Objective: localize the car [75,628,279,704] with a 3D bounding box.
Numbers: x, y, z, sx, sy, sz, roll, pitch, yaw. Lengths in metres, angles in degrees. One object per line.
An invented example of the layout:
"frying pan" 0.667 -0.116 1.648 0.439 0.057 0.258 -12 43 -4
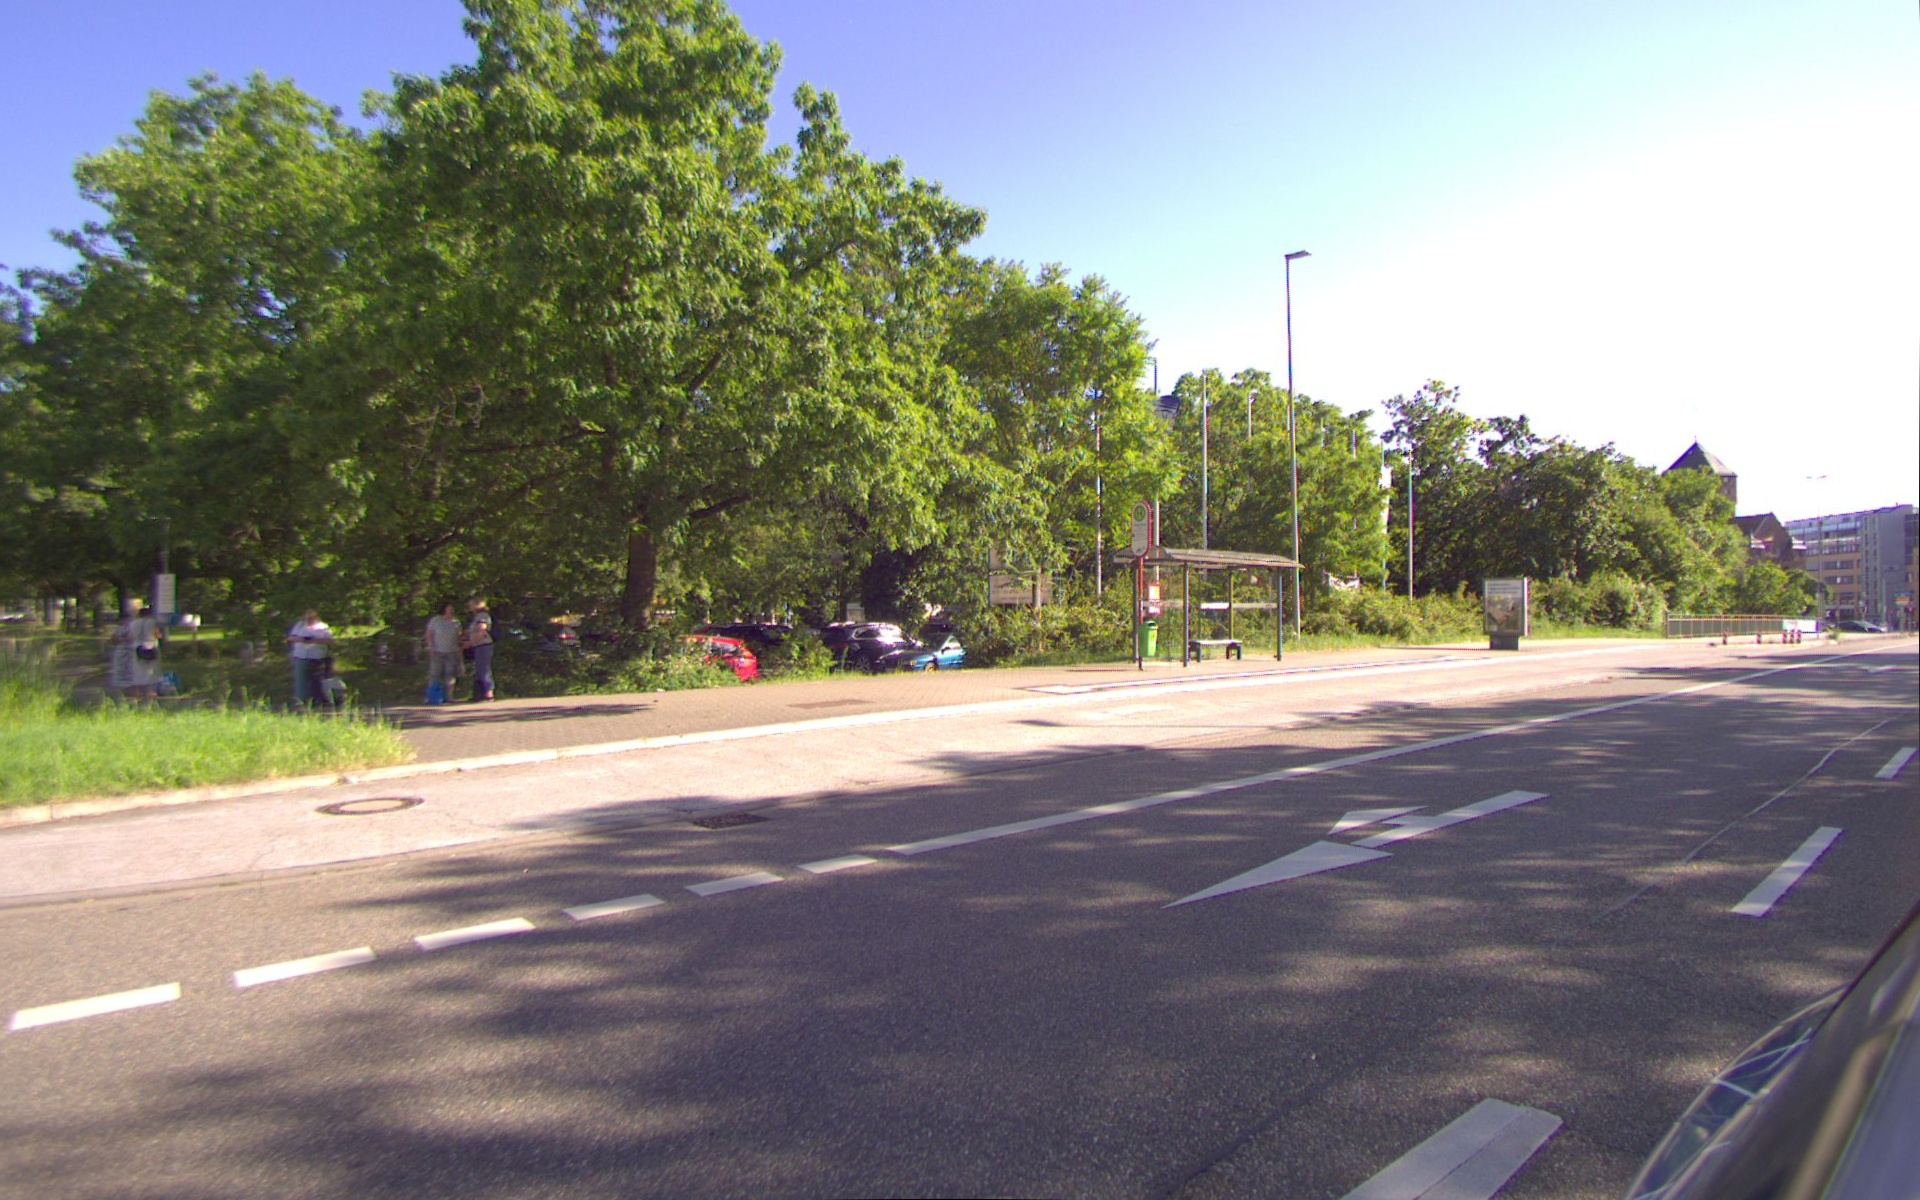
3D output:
"car" -19.563 1.588 25.444 3.928 1.628 1.998 -1 -1 -39

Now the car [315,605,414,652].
"car" -17.964 0.837 30.472 3.637 1.290 1.599 -1 1 43

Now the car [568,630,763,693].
"car" -6.279 1.276 21.862 3.846 1.169 1.398 0 -1 -43

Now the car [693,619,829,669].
"car" -7.349 1.664 37.648 4.691 1.773 1.755 3 -4 -39

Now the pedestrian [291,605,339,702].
"pedestrian" -10.466 0.850 16.423 0.602 1.538 0.528 1 -2 -39

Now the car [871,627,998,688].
"car" -0.739 1.678 30.616 3.550 1.658 1.765 0 -1 -41

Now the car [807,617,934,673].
"car" -2.883 1.441 33.053 3.929 1.685 1.608 0 -2 -41

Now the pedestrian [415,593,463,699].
"pedestrian" -8.330 0.717 16.165 0.542 1.655 0.623 1 -1 -41

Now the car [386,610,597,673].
"car" -12.606 1.157 27.405 4.801 1.558 1.997 3 -4 -39

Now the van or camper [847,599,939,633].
"van or camper" -3.981 0.965 60.710 2.450 1.937 5.243 -1 -1 44

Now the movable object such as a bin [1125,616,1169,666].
"movable object such as a bin" 3.961 0.858 21.456 0.568 1.043 0.727 1 -1 -42

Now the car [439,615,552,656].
"car" -19.803 1.475 43.220 3.935 1.622 1.994 1 -1 10

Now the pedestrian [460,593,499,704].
"pedestrian" -7.615 0.757 16.031 0.403 1.722 0.603 1 -2 -42

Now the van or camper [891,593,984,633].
"van or camper" -1.255 0.725 58.136 2.449 2.186 5.246 -1 -1 42

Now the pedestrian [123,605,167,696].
"pedestrian" -15.037 0.916 18.675 0.597 1.640 0.558 -3 -2 43

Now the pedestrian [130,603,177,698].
"pedestrian" -14.389 0.885 18.061 0.702 1.640 0.558 -3 -2 43
